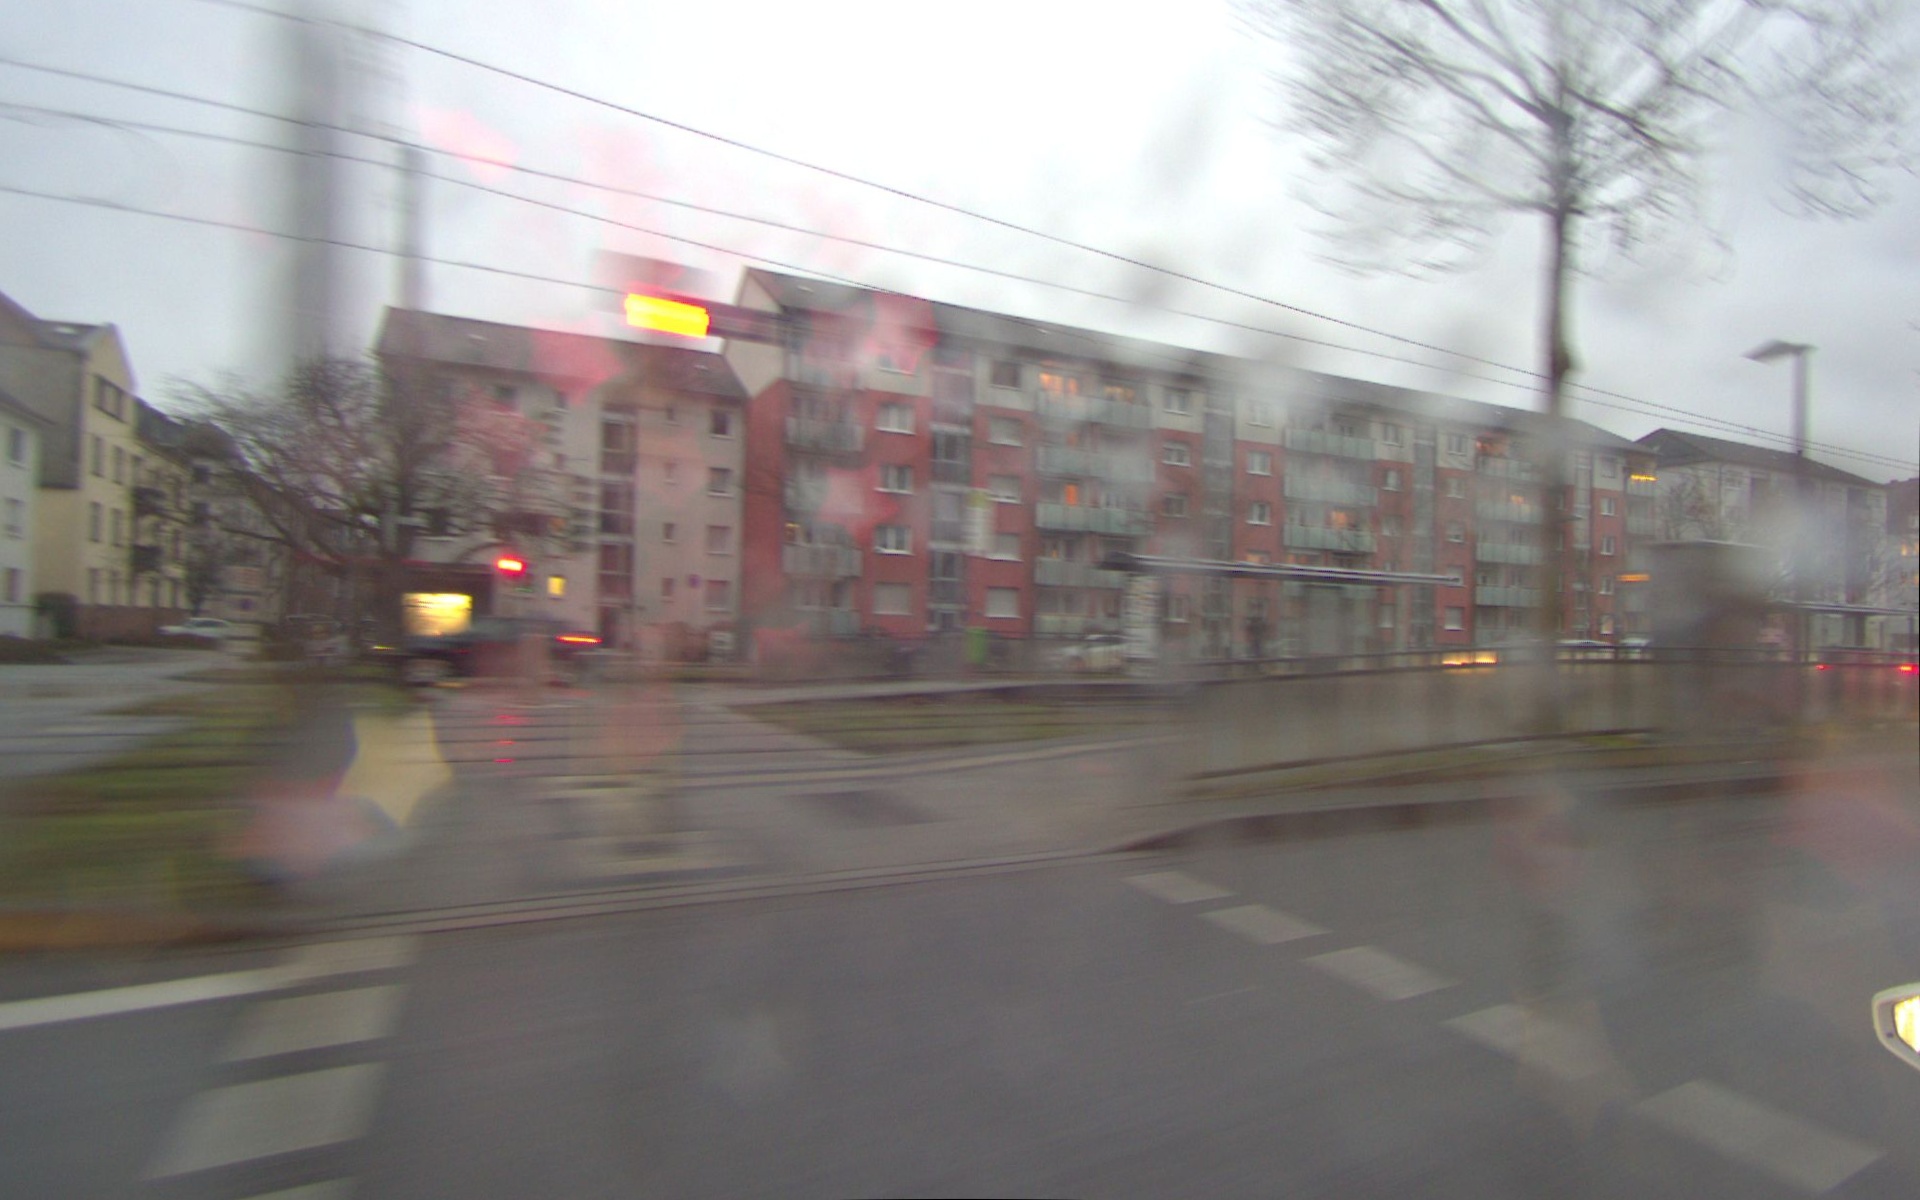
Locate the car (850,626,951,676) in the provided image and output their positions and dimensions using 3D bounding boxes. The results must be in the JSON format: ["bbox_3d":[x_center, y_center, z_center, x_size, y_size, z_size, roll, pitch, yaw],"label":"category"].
[{"bbox_3d":[-2.078,1.692,33.984,1.693,1.435,3.965,3,-1,-31],"label":"car"}]

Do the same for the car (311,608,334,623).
[{"bbox_3d":[-86.756,2.104,136.711,1.973,1.806,3.976,3,-1,-24],"label":"car"}]

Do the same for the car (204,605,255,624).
[{"bbox_3d":[-61.991,1.205,85.279,3.377,1.456,1.417,3,-1,-32],"label":"car"}]

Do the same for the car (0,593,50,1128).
[{"bbox_3d":[-4.040,0.643,1.252,3.953,1.485,1.700,3,-1,-30],"label":"car"}]

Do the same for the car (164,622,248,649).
[{"bbox_3d":[-43.727,2.089,58.295,1.532,1.456,3.538,2,-1,35],"label":"car"}]

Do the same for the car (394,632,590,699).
[{"bbox_3d":[-10.744,1.516,23.190,3.950,1.386,1.509,3,-1,-28],"label":"car"}]

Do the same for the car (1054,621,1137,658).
[{"bbox_3d":[6.340,1.852,47.106,3.454,1.516,1.706,3,-1,-25],"label":"car"}]
